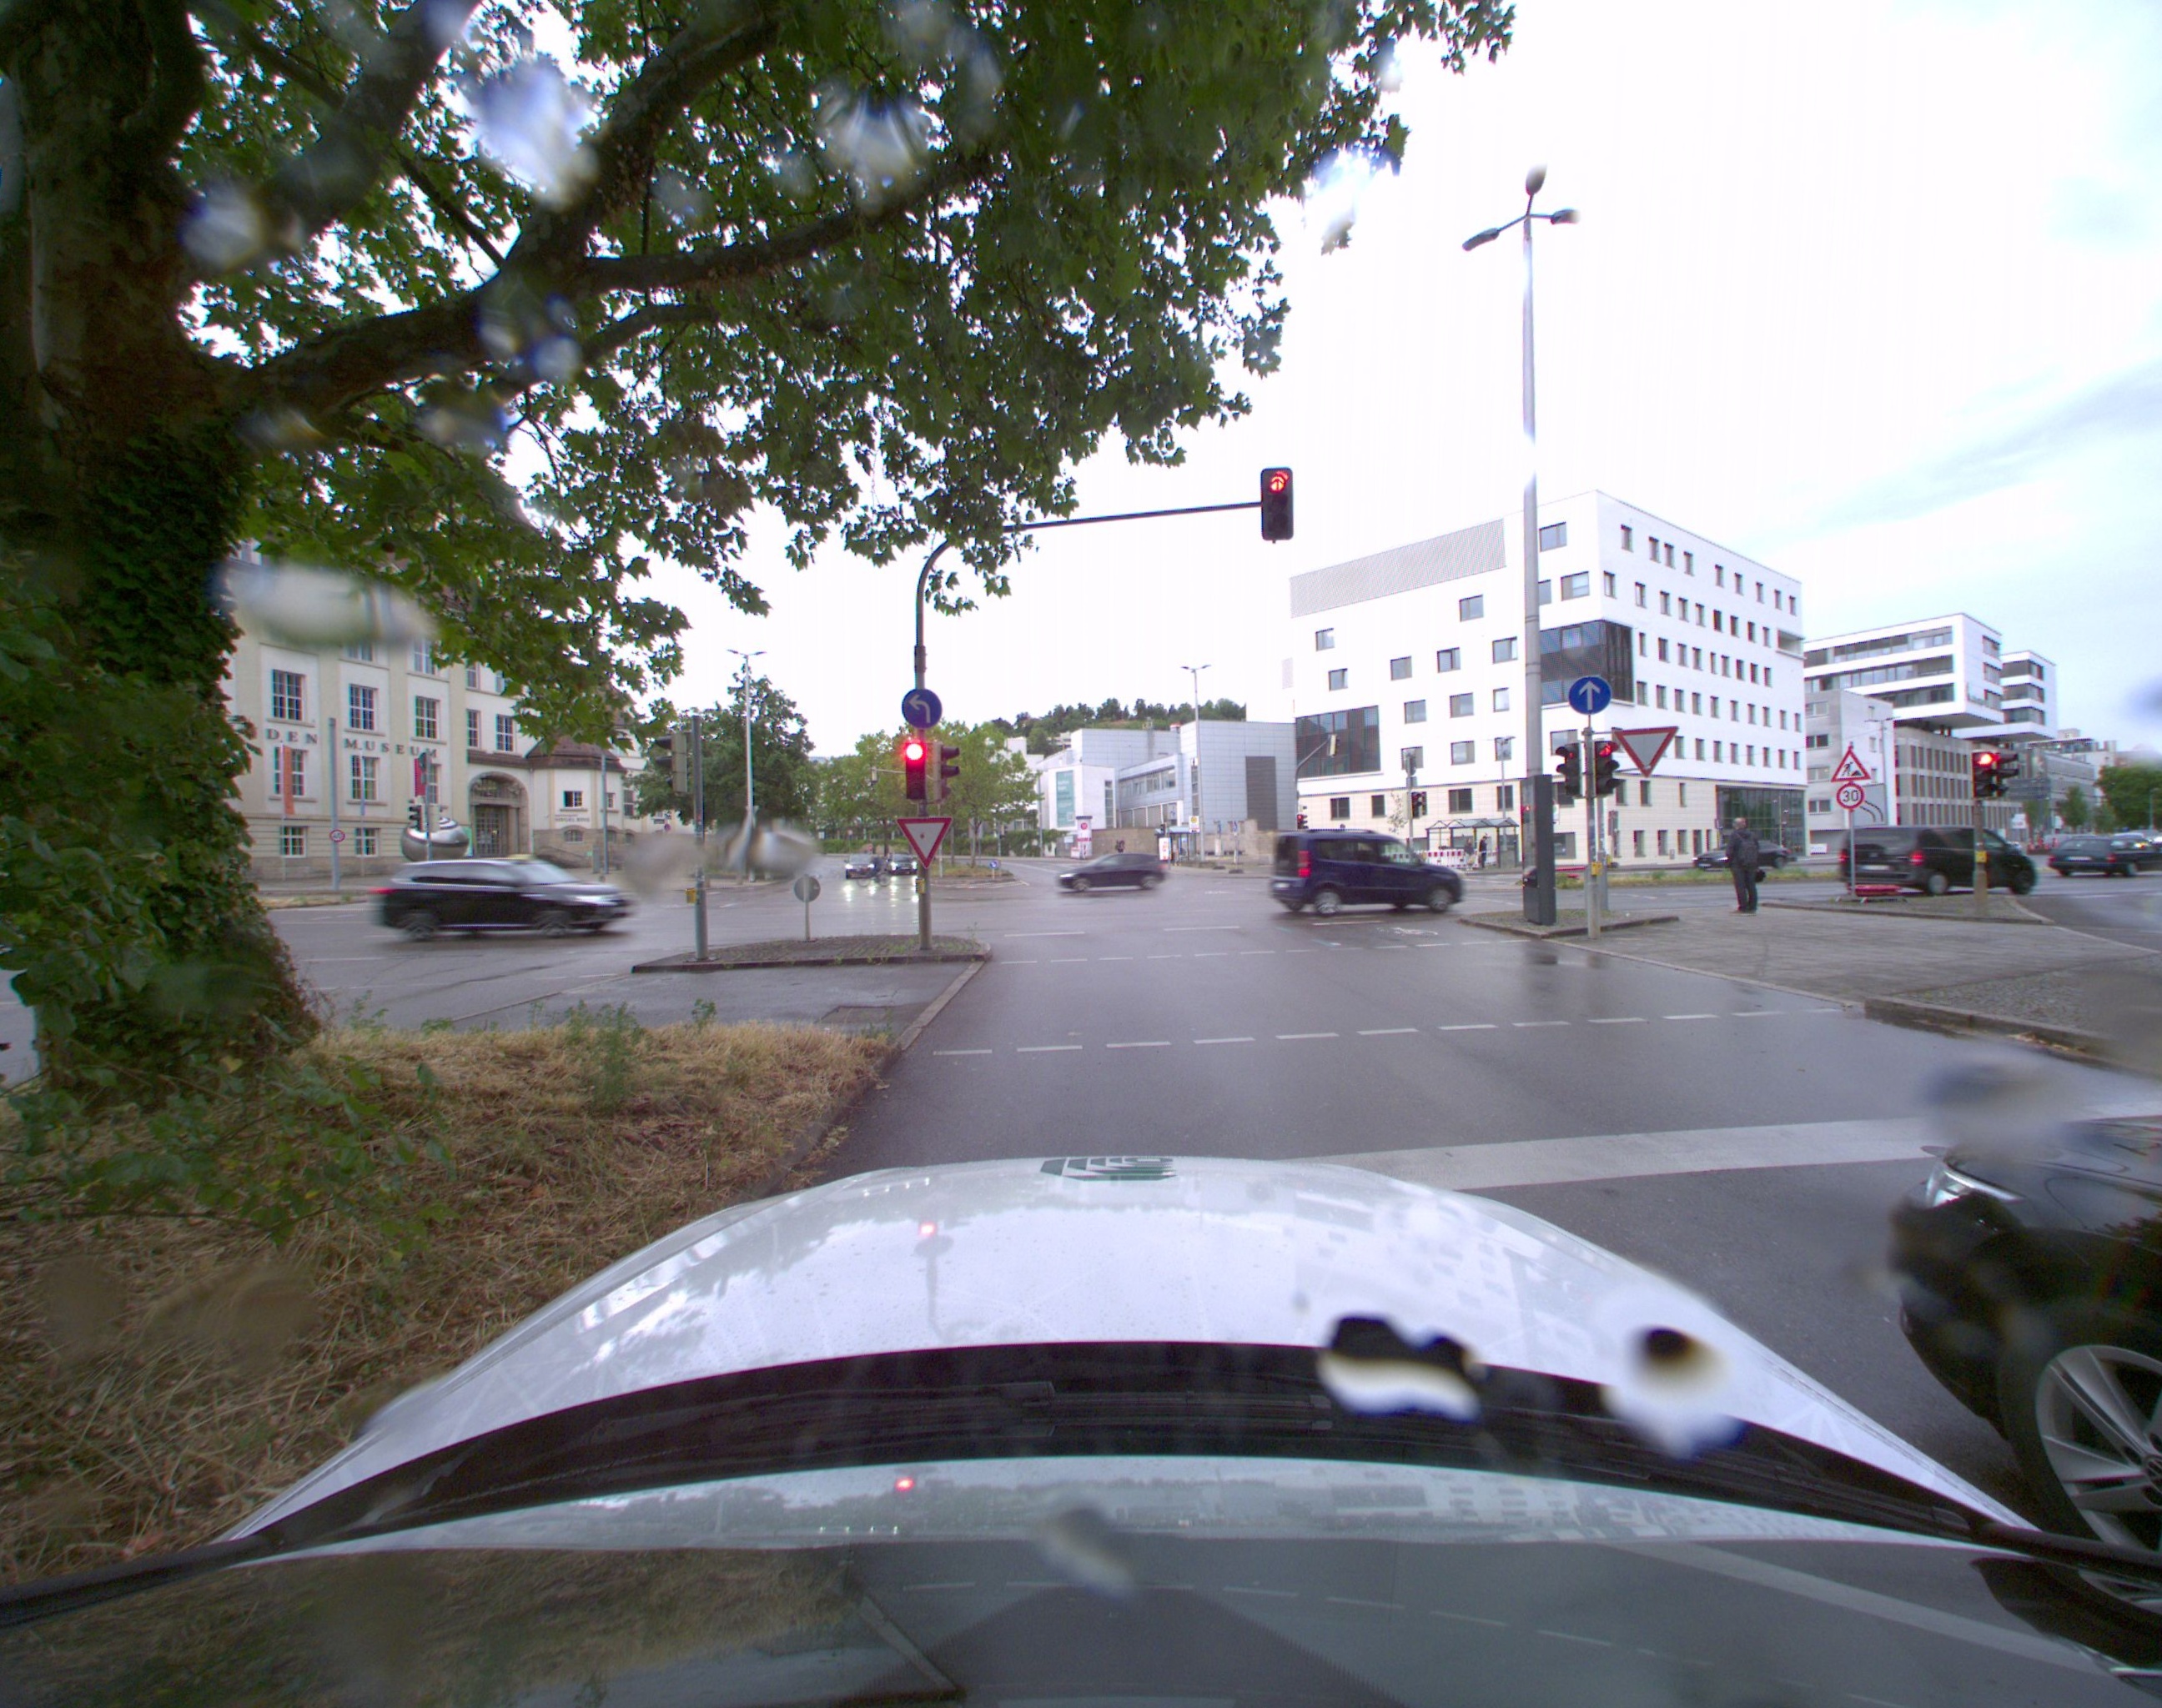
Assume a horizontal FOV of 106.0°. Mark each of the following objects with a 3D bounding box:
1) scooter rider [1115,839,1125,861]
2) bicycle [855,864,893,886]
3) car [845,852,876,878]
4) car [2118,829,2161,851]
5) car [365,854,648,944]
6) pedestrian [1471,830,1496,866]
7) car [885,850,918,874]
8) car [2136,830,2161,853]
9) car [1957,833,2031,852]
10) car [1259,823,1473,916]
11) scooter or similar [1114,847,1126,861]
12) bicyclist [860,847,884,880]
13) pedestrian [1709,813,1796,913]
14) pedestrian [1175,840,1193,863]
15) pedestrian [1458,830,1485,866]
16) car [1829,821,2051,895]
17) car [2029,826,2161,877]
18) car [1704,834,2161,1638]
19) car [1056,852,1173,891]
[{"bbox_3d":[3.367,-0.337,70.792,0.725,1.883,0.628,0,-1,-18],"label":"scooter rider"},{"bbox_3d":[-10.351,1.053,40.733,1.817,1.056,0.645,-1,-1,-14],"label":"bicycle"},{"bbox_3d":[-14.685,0.676,54.255,1.871,1.564,4.254,-2,1,-15],"label":"car"},{"bbox_3d":[70.478,-0.930,54.046,4.409,1.378,1.977,-1,0,-39],"label":"car"},{"bbox_3d":[-12.129,0.912,17.443,4.661,1.705,1.796,-1,1,-3],"label":"car"},{"bbox_3d":[21.752,-0.299,44.060,0.995,1.935,0.957,0,-1,11],"label":"pedestrian"},{"bbox_3d":[-12.890,0.526,58.197,1.795,1.584,3.973,-2,1,-20],"label":"car"},{"bbox_3d":[80.705,-0.981,60.942,4.409,1.664,1.977,-1,0,-39],"label":"car"},{"bbox_3d":[75.752,-0.940,67.666,1.949,1.557,4.073,0,0,8],"label":"car"},{"bbox_3d":[6.428,0.294,18.538,4.297,1.908,1.791,-1,1,-11],"label":"car"},{"bbox_3d":[3.378,-0.005,70.821,0.593,1.239,1.305,0,-1,-19],"label":"scooter or similar"},{"bbox_3d":[-10.434,0.496,40.711,1.126,1.633,0.699,0,-1,-14],"label":"bicyclist"},{"bbox_3d":[13.132,0.179,15.957,0.826,1.892,1.025,0,-1,-7],"label":"pedestrian"},{"bbox_3d":[7.768,-0.177,61.643,1.253,1.719,1.016,0,-1,0],"label":"pedestrian"},{"bbox_3d":[20.126,-0.319,41.975,0.951,1.840,0.821,0,-1,-10],"label":"pedestrian"},{"bbox_3d":[23.212,0.072,22.065,4.776,1.809,1.991,-1,0,-13],"label":"car"},{"bbox_3d":[37.313,-0.128,29.548,4.968,1.673,1.988,-2,0,-18],"label":"car"},{"bbox_3d":[2.809,0.717,0.338,1.665,1.466,4.512,-1,1,0],"label":"car"},{"bbox_3d":[1.258,0.652,31.883,4.367,1.378,1.996,-1,0,-6],"label":"car"}]
